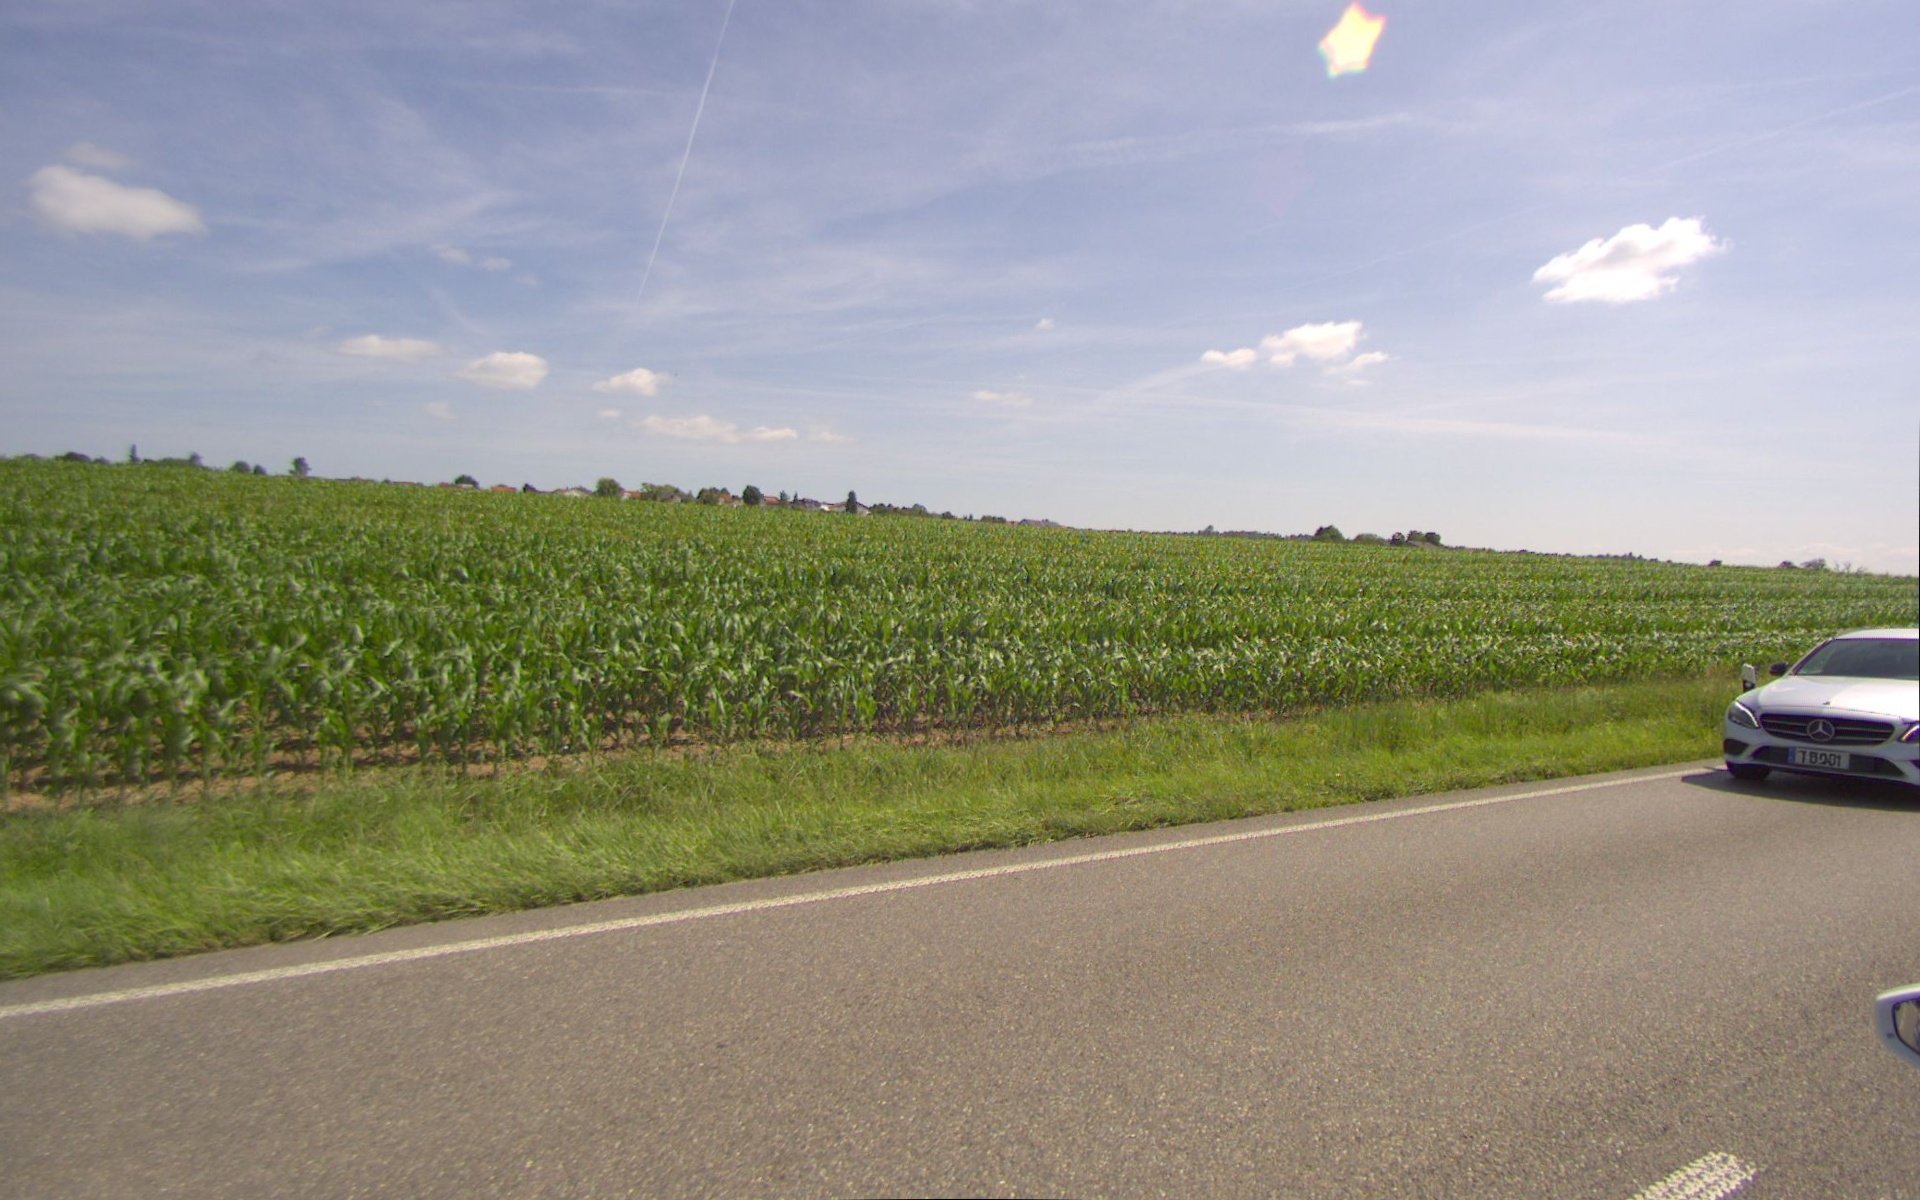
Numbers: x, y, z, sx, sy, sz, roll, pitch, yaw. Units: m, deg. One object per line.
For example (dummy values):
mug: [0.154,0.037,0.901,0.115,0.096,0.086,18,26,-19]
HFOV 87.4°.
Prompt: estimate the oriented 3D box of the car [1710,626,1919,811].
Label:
car: [9.223,1.019,9.758,4.130,1.460,1.719,1,-1,-32]
